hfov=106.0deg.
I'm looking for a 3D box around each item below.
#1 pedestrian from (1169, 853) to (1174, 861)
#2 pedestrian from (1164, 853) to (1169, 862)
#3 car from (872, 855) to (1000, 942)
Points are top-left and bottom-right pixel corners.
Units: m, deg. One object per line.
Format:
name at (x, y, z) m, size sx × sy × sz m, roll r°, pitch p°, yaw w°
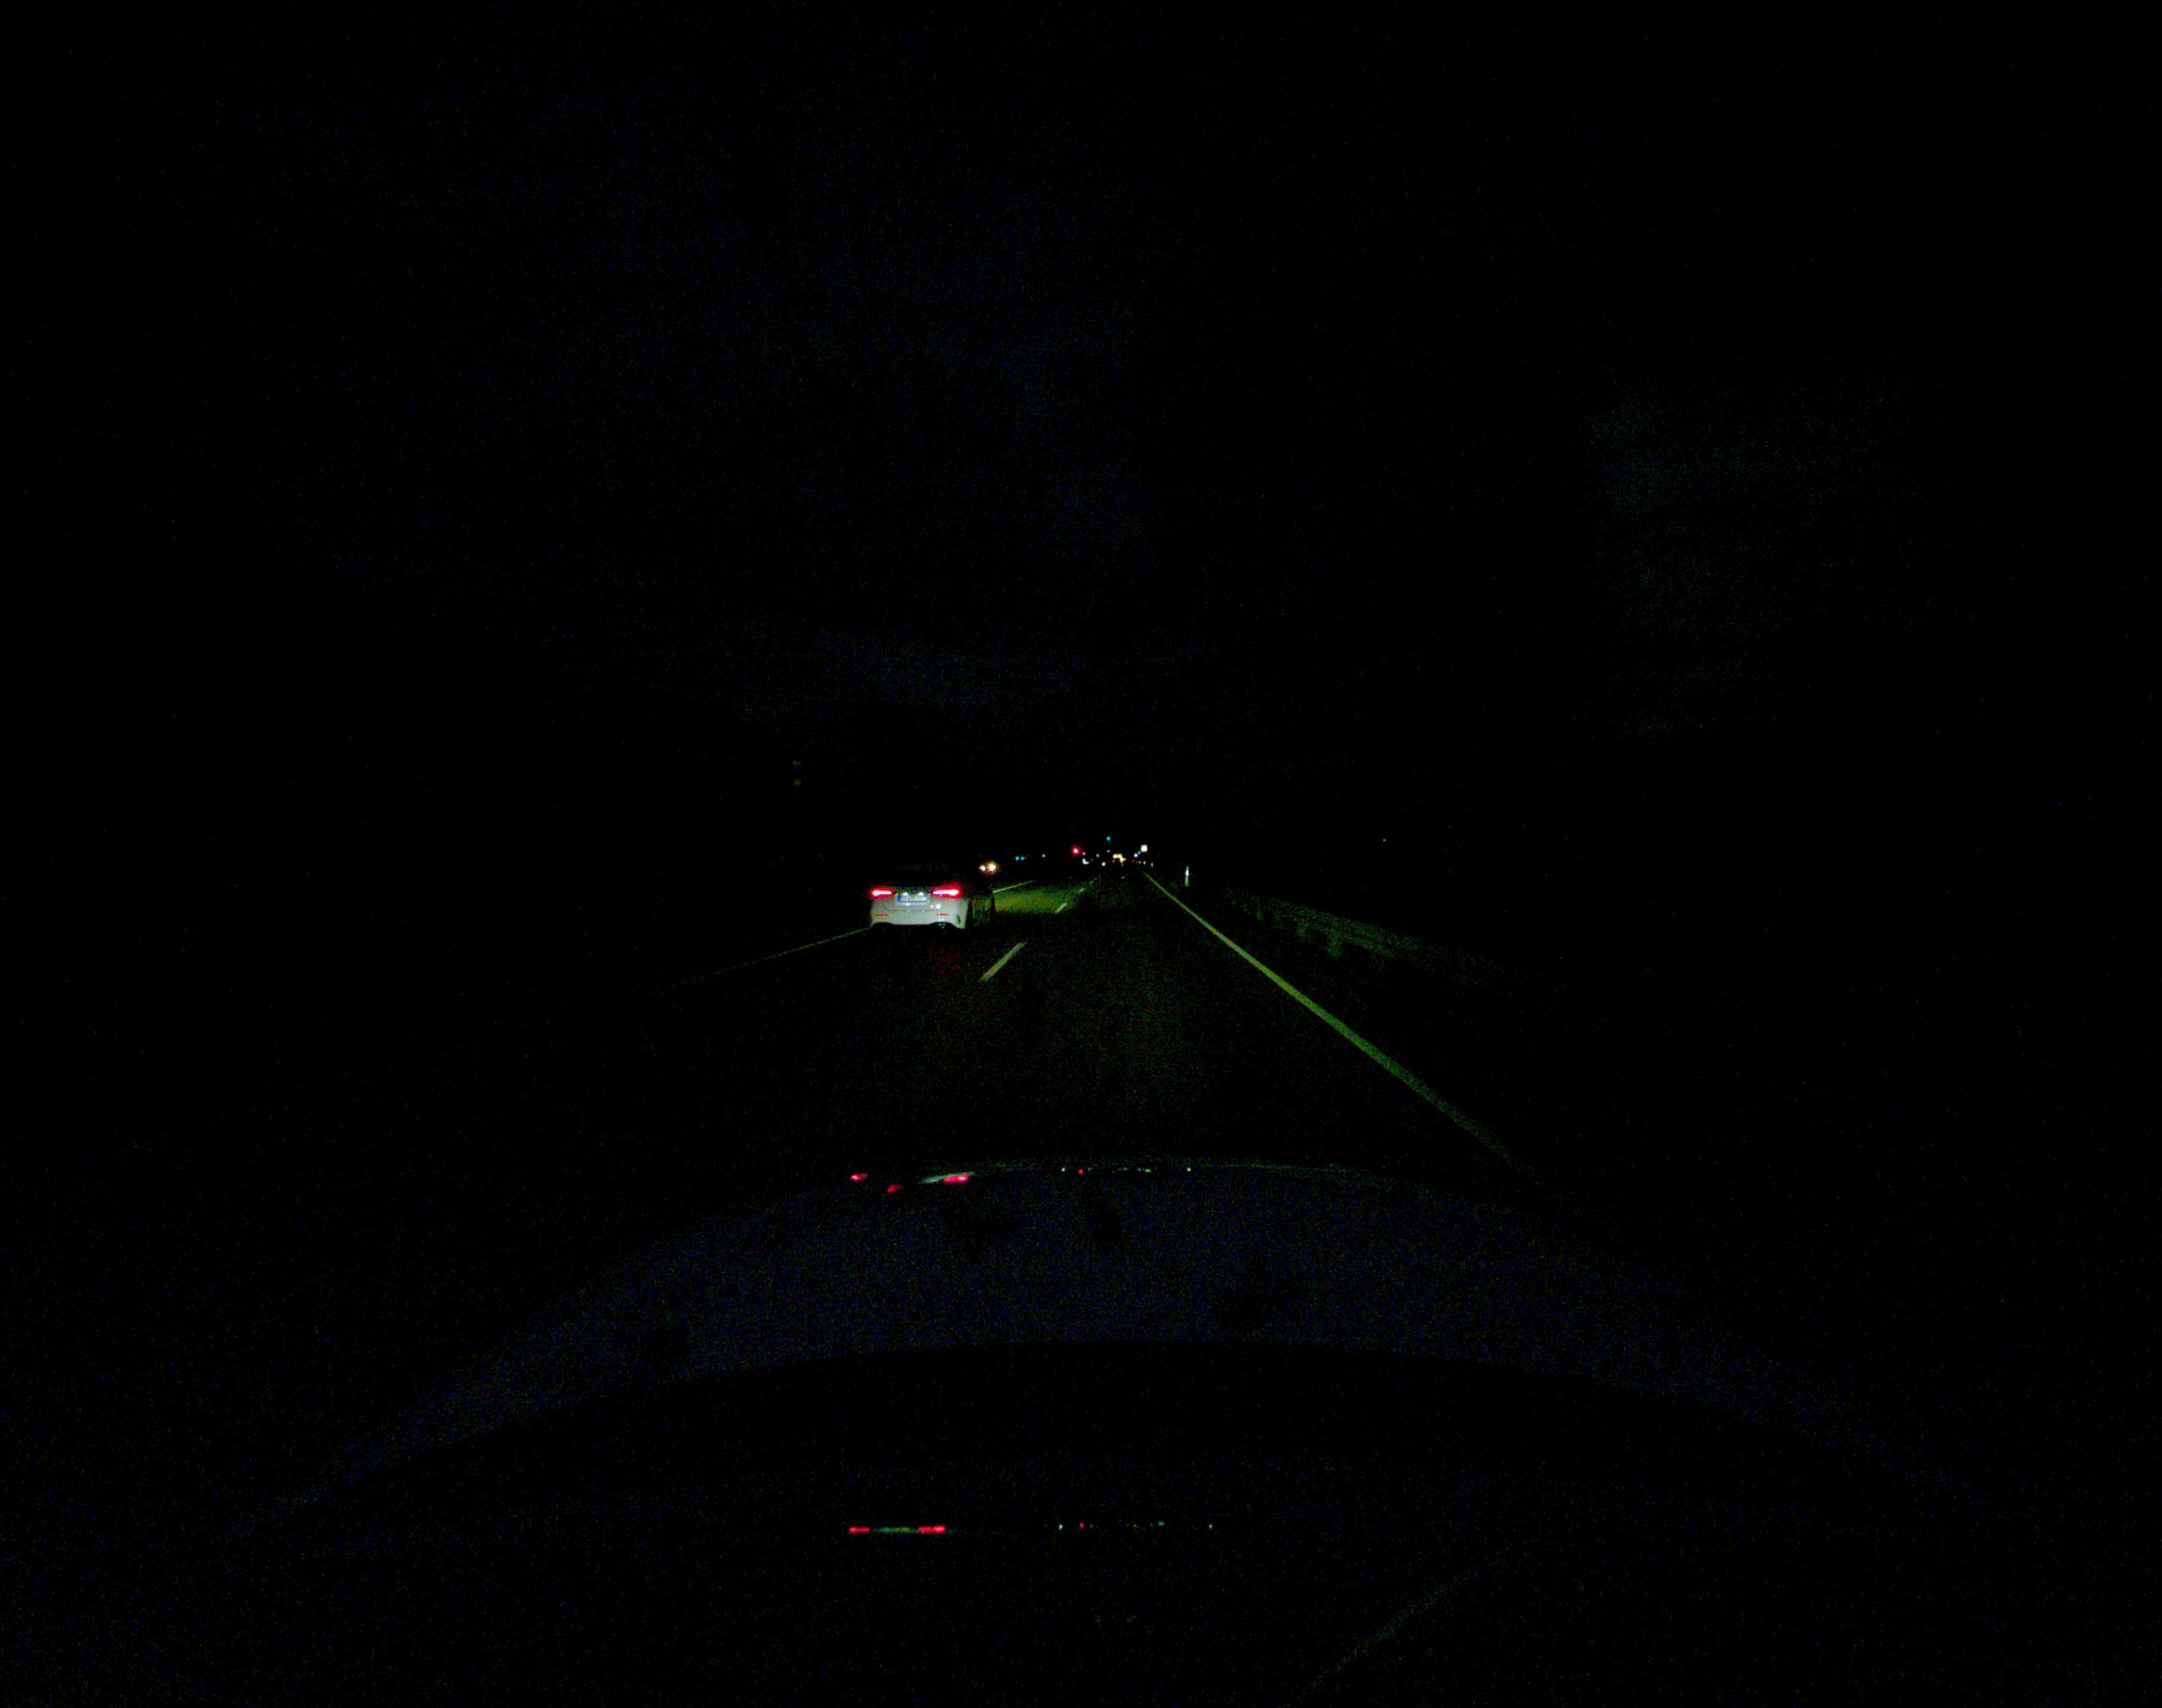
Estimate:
pedestrian at (18.702, 0.670, 168.369) m, size 1.086 × 1.723 × 1.261 m, roll 0°, pitch -1°, yaw 2°
pedestrian at (17.673, 0.649, 168.366) m, size 0.918 × 1.793 × 1.107 m, roll 0°, pitch 0°, yaw 3°
car at (-2.711, 0.763, 16.233) m, size 1.636 × 1.490 × 4.580 m, roll 0°, pitch 0°, yaw 1°
